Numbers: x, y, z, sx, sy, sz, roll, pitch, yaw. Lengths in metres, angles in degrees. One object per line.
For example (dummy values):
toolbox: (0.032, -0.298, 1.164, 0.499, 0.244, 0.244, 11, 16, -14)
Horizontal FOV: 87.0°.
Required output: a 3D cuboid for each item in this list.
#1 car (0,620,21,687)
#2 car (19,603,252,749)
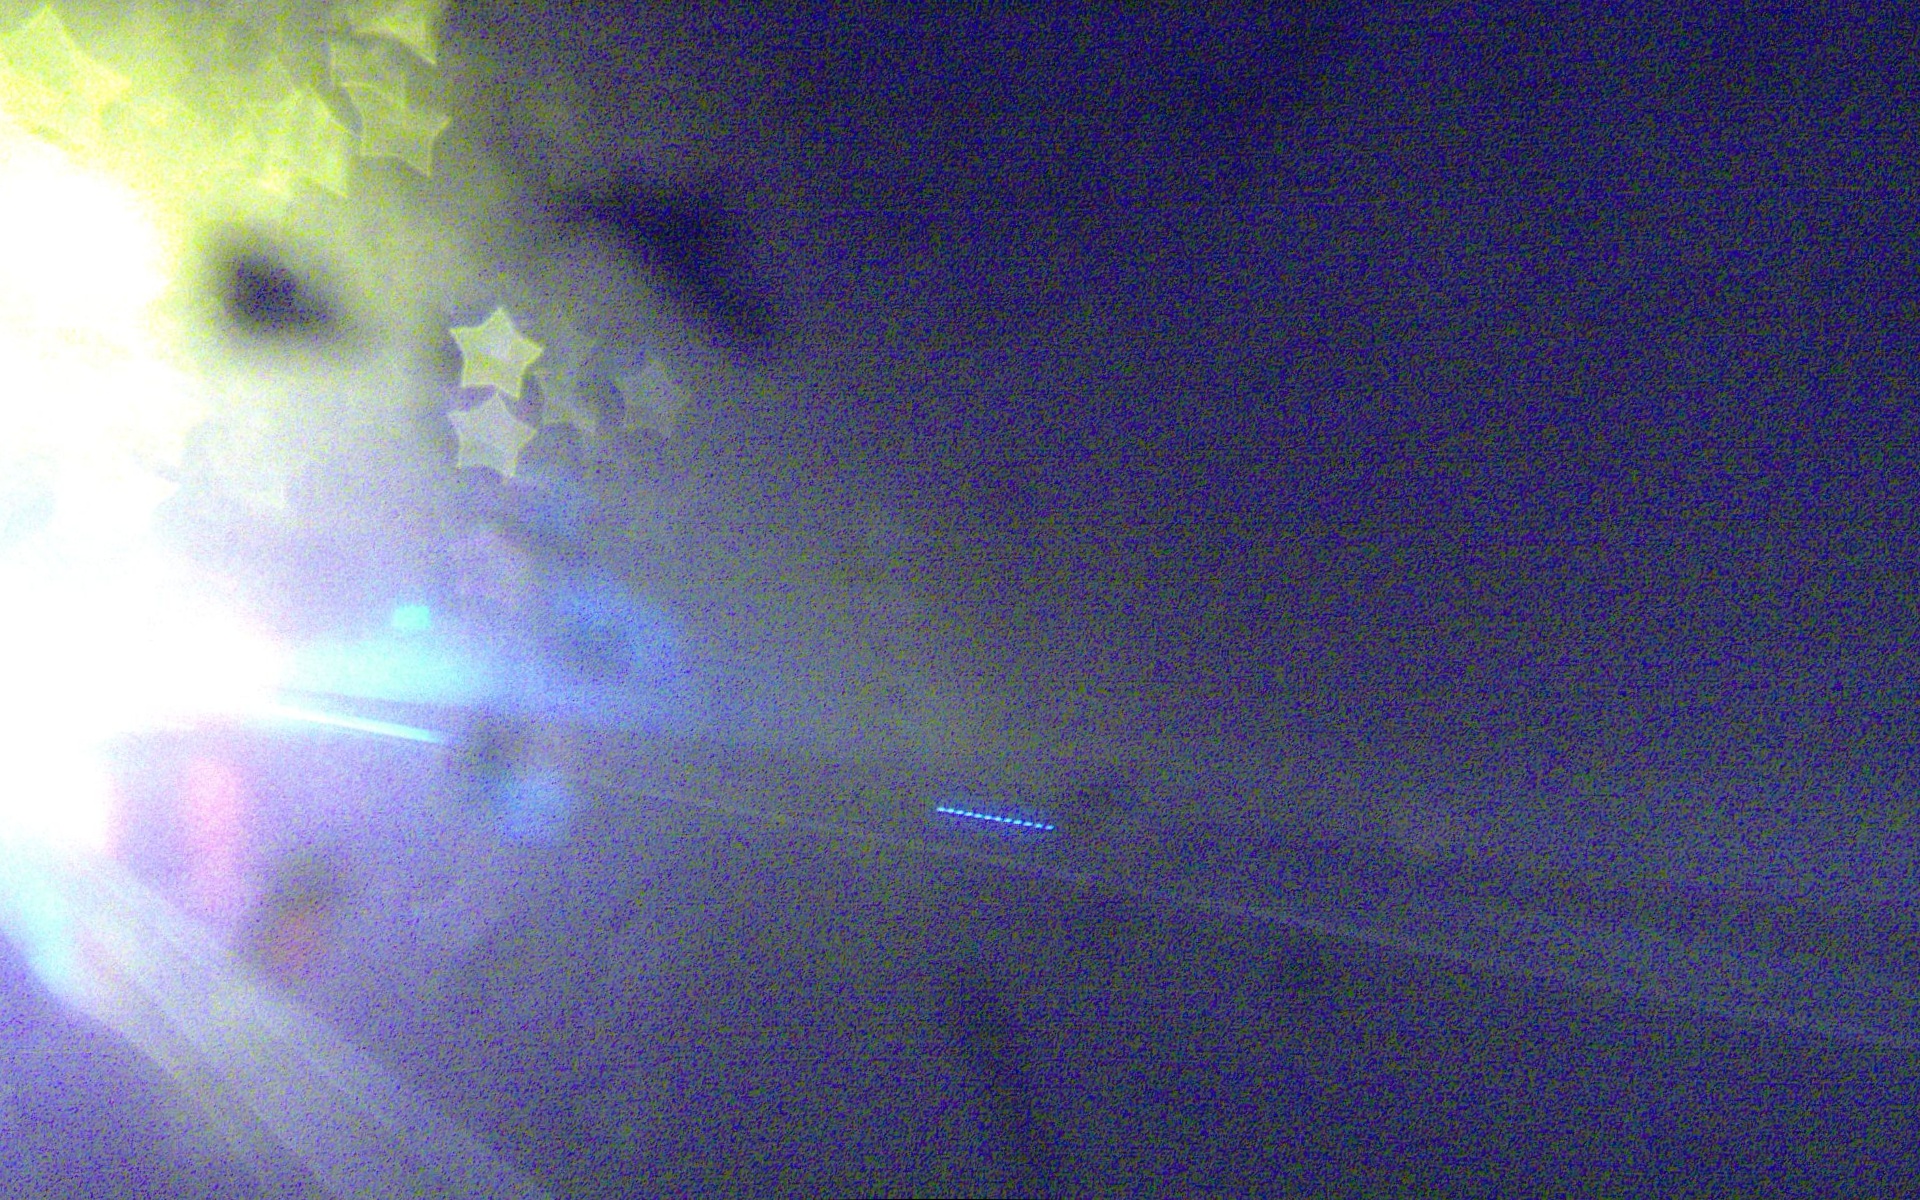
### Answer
car: (-25.572, 1.372, 26.025, 3.904, 1.660, 1.651, -3, -4, 41)
car: (-10.578, 0.862, 12.888, 3.871, 1.567, 1.683, -1, -1, 41)
